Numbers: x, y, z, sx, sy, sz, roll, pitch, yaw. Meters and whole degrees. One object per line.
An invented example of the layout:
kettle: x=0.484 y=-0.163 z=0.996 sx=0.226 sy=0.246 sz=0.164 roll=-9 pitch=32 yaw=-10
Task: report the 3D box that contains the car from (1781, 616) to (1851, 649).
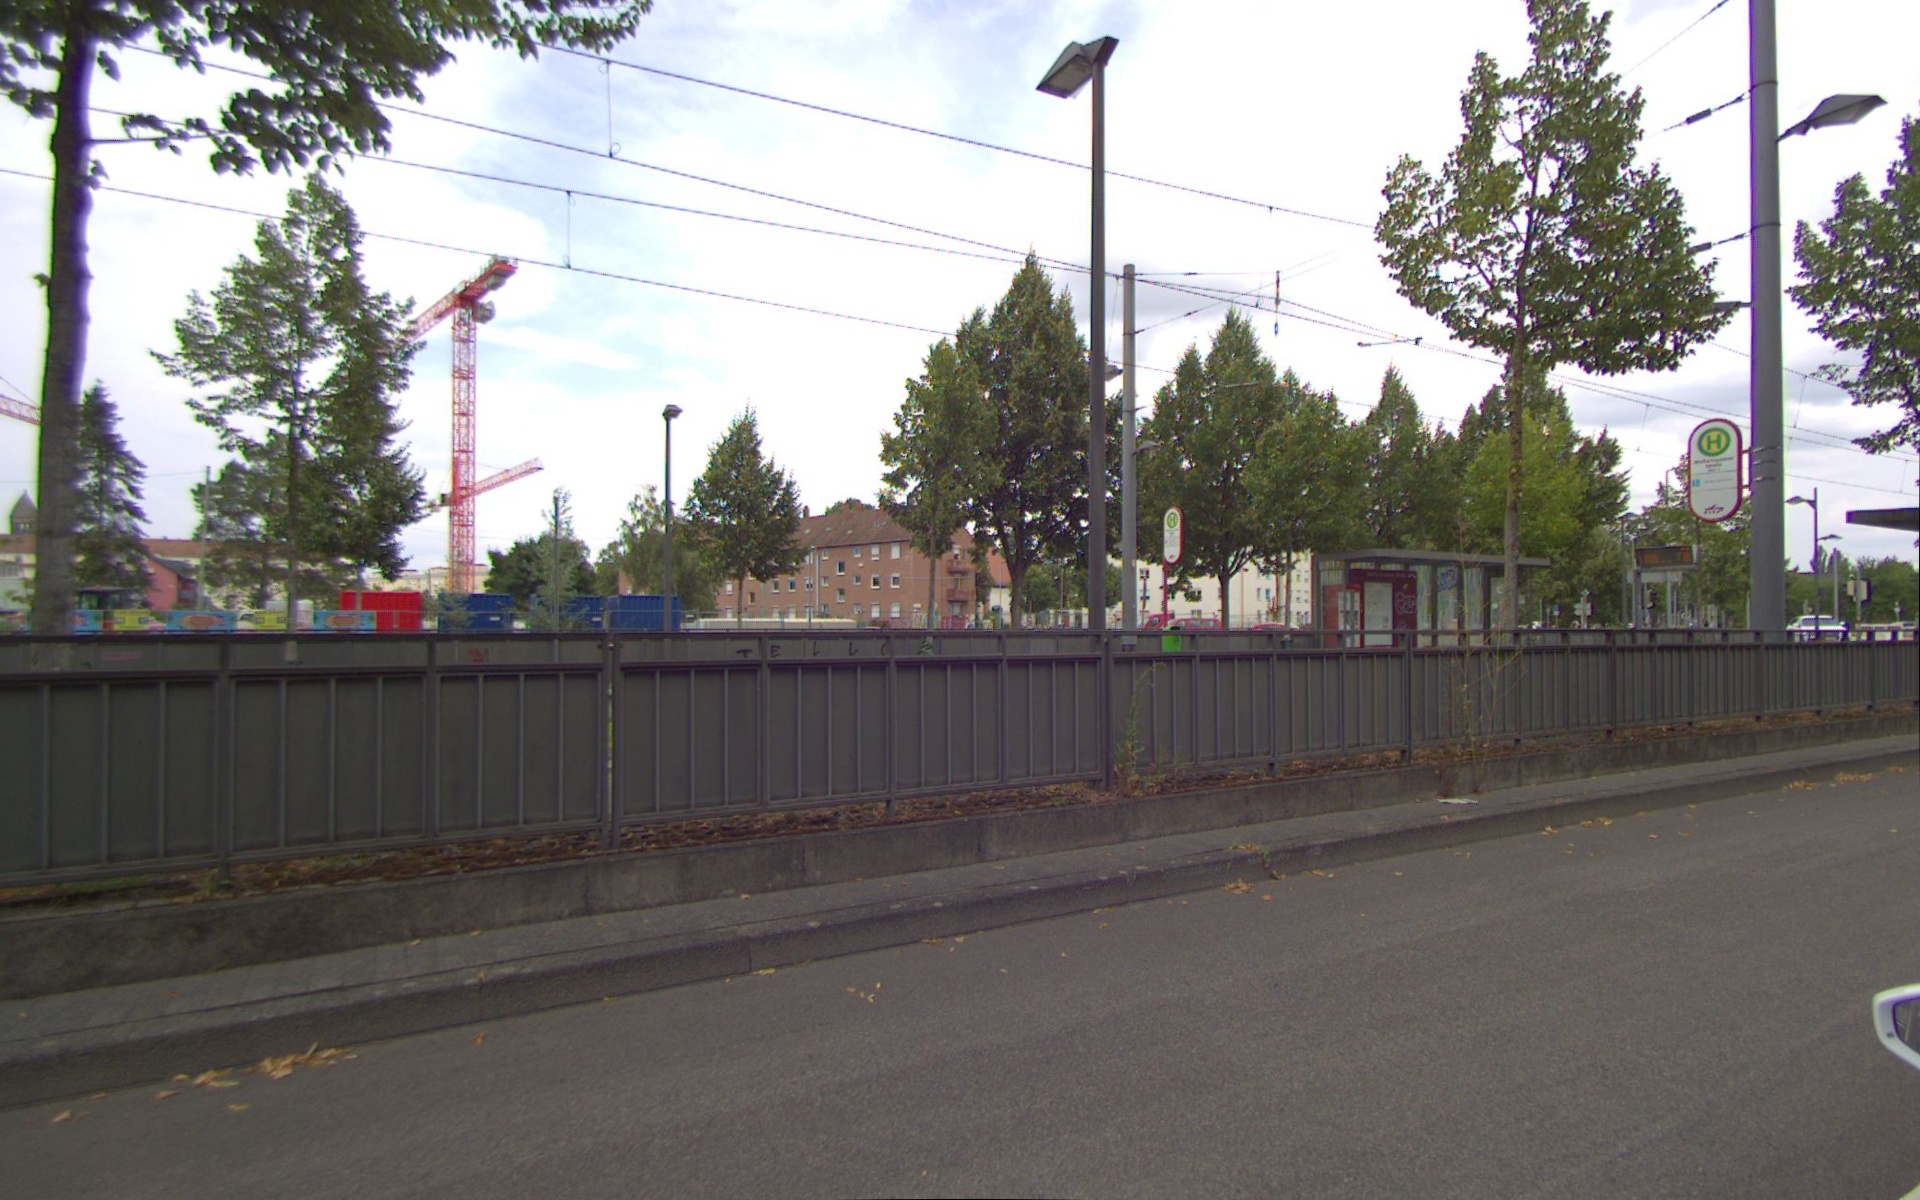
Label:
car: x=43.752 y=1.632 z=51.442 sx=1.965 sy=1.639 sz=4.376 roll=-1 pitch=-1 yaw=30
